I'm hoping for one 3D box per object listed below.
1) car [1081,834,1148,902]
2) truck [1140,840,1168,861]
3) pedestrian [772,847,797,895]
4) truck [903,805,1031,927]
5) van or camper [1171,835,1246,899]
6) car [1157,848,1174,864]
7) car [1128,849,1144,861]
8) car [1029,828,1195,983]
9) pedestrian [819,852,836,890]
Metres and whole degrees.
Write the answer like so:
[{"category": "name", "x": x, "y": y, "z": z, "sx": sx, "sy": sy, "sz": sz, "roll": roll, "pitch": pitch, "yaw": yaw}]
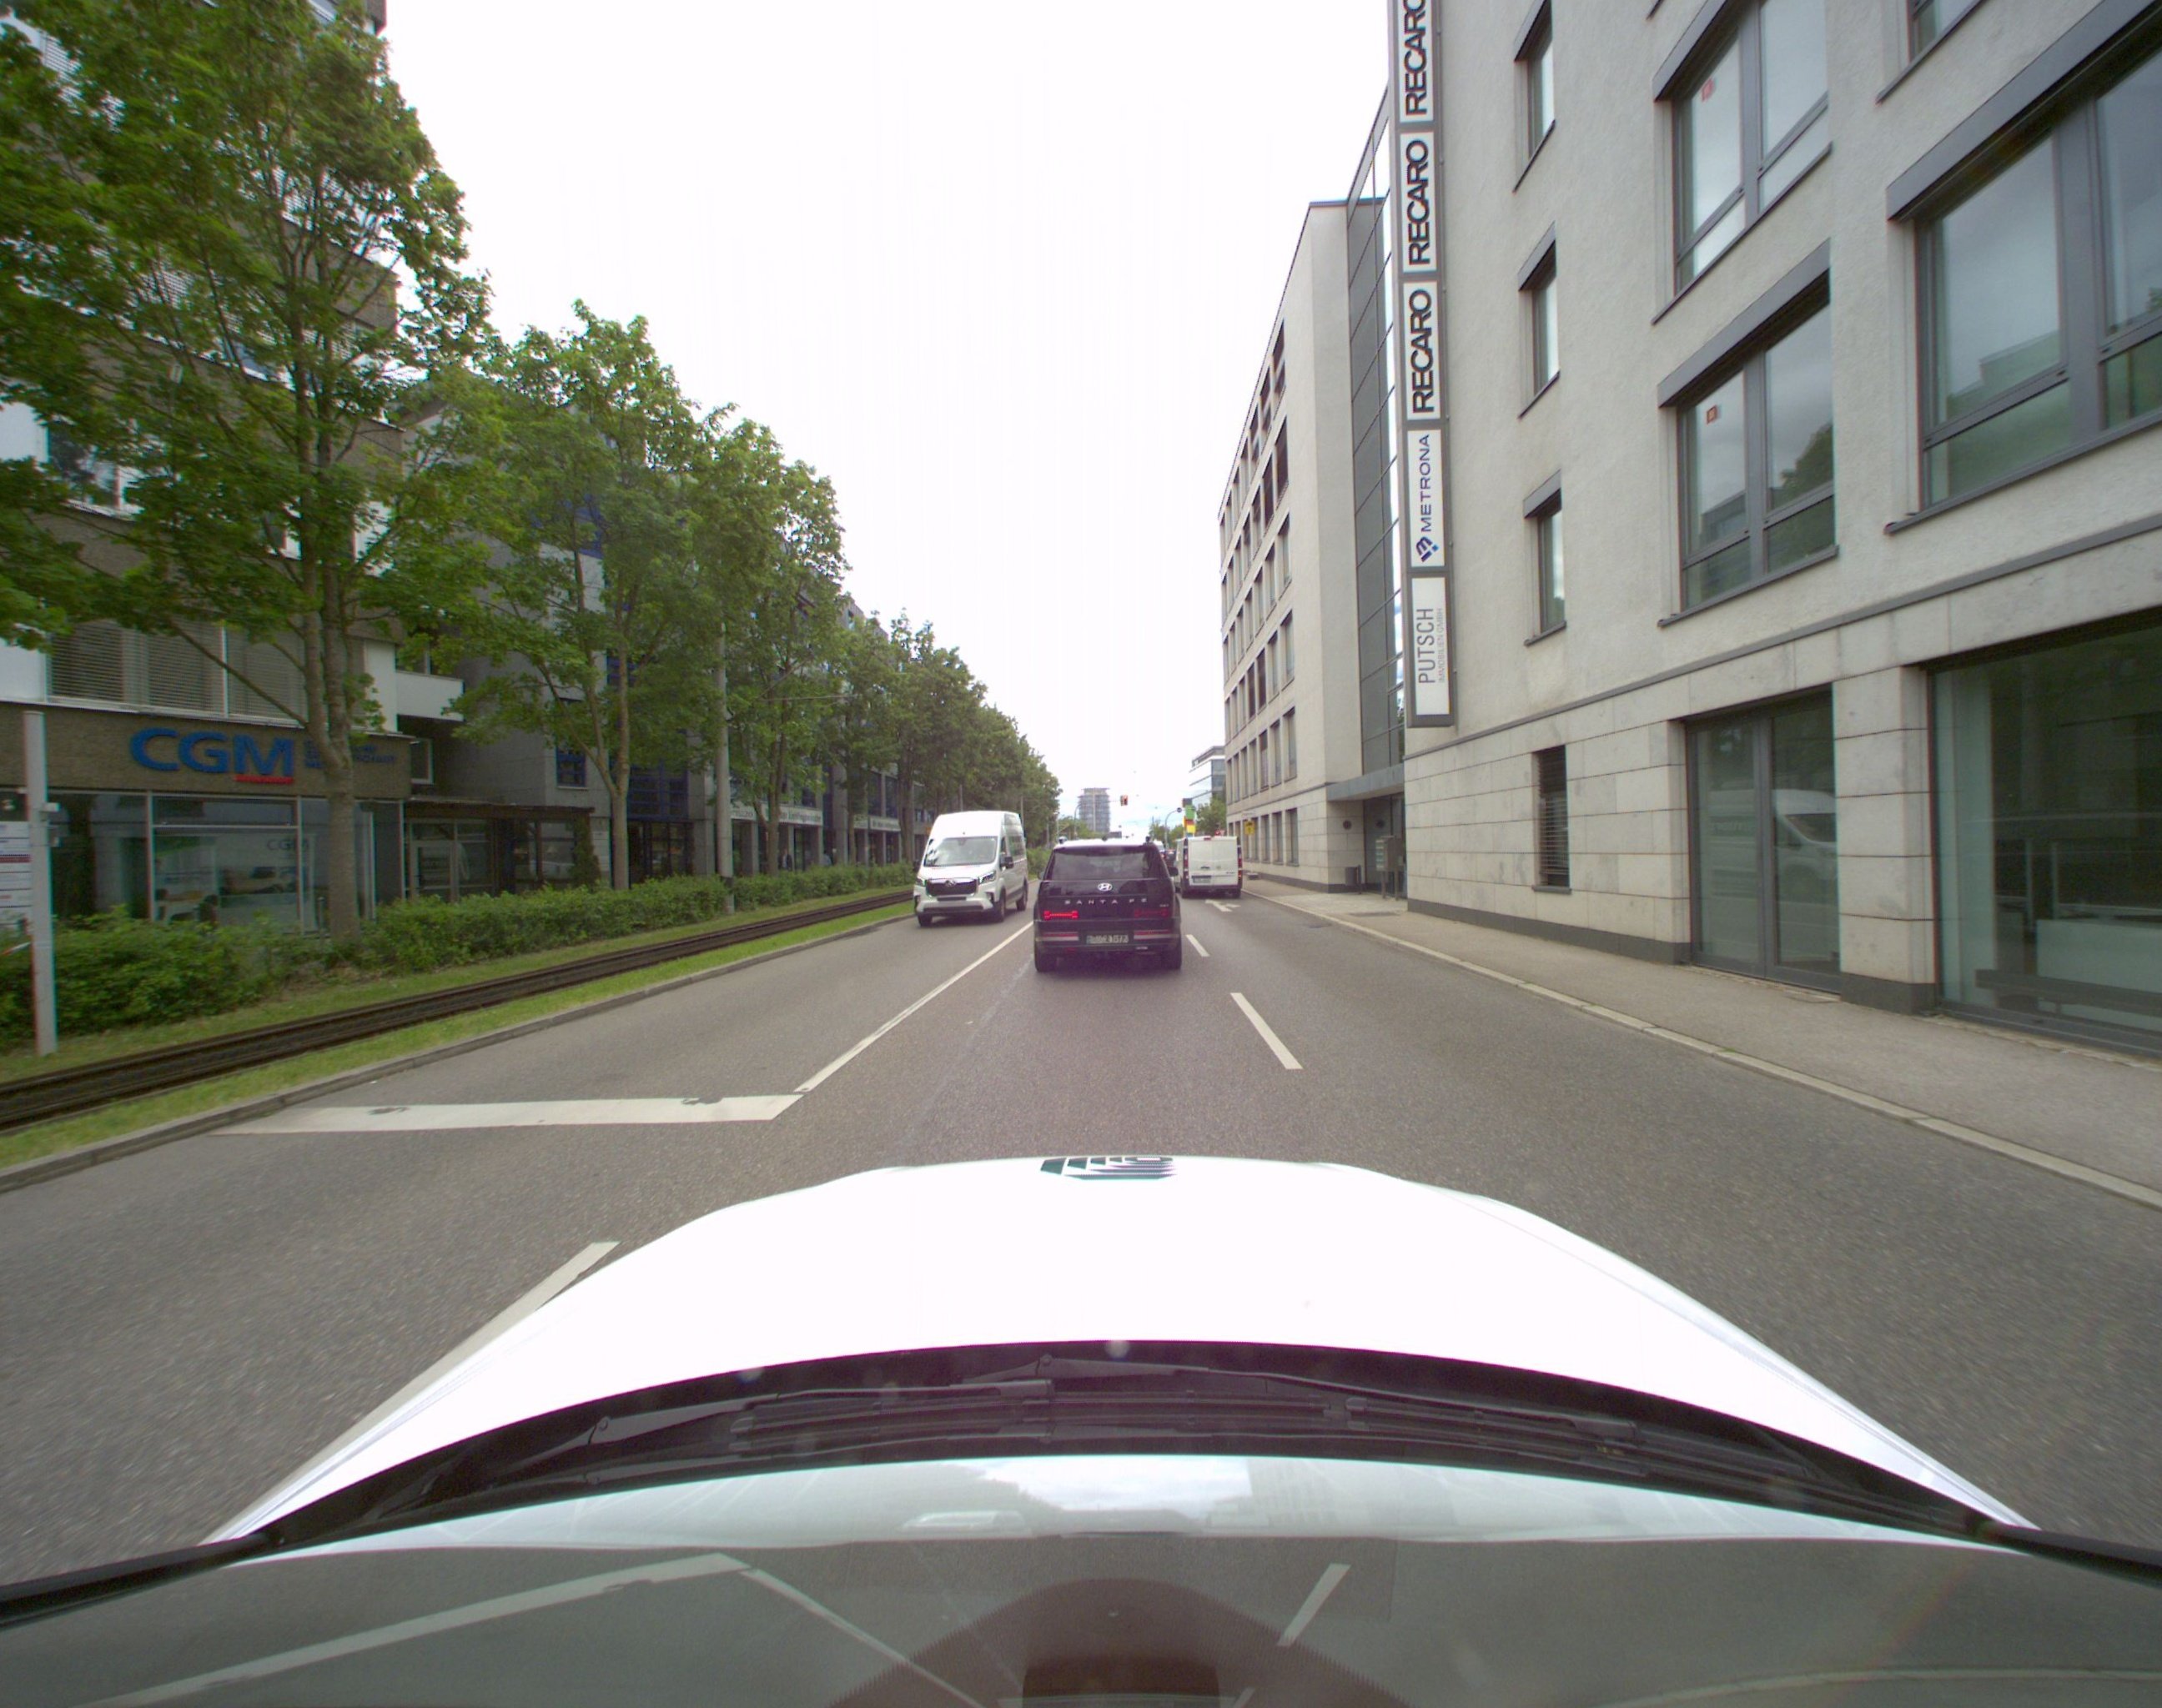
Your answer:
[{"category": "car", "x": 1.014, "y": 0.405, "z": 26.823, "sx": 1.926, "sy": 1.994, "sz": 4.533, "roll": -2, "pitch": 0, "yaw": -1}, {"category": "truck", "x": 9.840, "y": -0.456, "z": 109.879, "sx": 2.329, "sy": 2.748, "sz": 6.471, "roll": -2, "pitch": 0, "yaw": -7}, {"category": "pedestrian", "x": -12.066, "y": 0.670, "z": 33.146, "sx": 0.672, "sy": 1.908, "sz": 0.622, "roll": -3, "pitch": 0, "yaw": 3}, {"category": "truck", "x": -2.689, "y": 0.256, "z": 20.806, "sx": 2.157, "sy": 2.615, "sz": 5.799, "roll": -2, "pitch": 0, "yaw": 2}, {"category": "van or camper", "x": 4.127, "y": 0.371, "z": 26.971, "sx": 1.985, "sy": 1.915, "sz": 4.335, "roll": -1, "pitch": 0, "yaw": 3}, {"category": "car", "x": 9.023, "y": 0.224, "z": 86.781, "sx": 1.750, "sy": 1.609, "sz": 4.195, "roll": -2, "pitch": 0, "yaw": 6}, {"category": "car", "x": 8.218, "y": 0.110, "z": 122.853, "sx": 1.988, "sy": 1.618, "sz": 3.998, "roll": -3, "pitch": 0, "yaw": -1}, {"category": "car", "x": 0.279, "y": 0.604, "z": 11.754, "sx": 1.904, "sy": 1.749, "sz": 4.392, "roll": -2, "pitch": 0, "yaw": -2}, {"category": "pedestrian", "x": -13.924, "y": 0.924, "z": 44.728, "sx": 0.678, "sy": 2.013, "sz": 0.571, "roll": -2, "pitch": 0, "yaw": 2}]
